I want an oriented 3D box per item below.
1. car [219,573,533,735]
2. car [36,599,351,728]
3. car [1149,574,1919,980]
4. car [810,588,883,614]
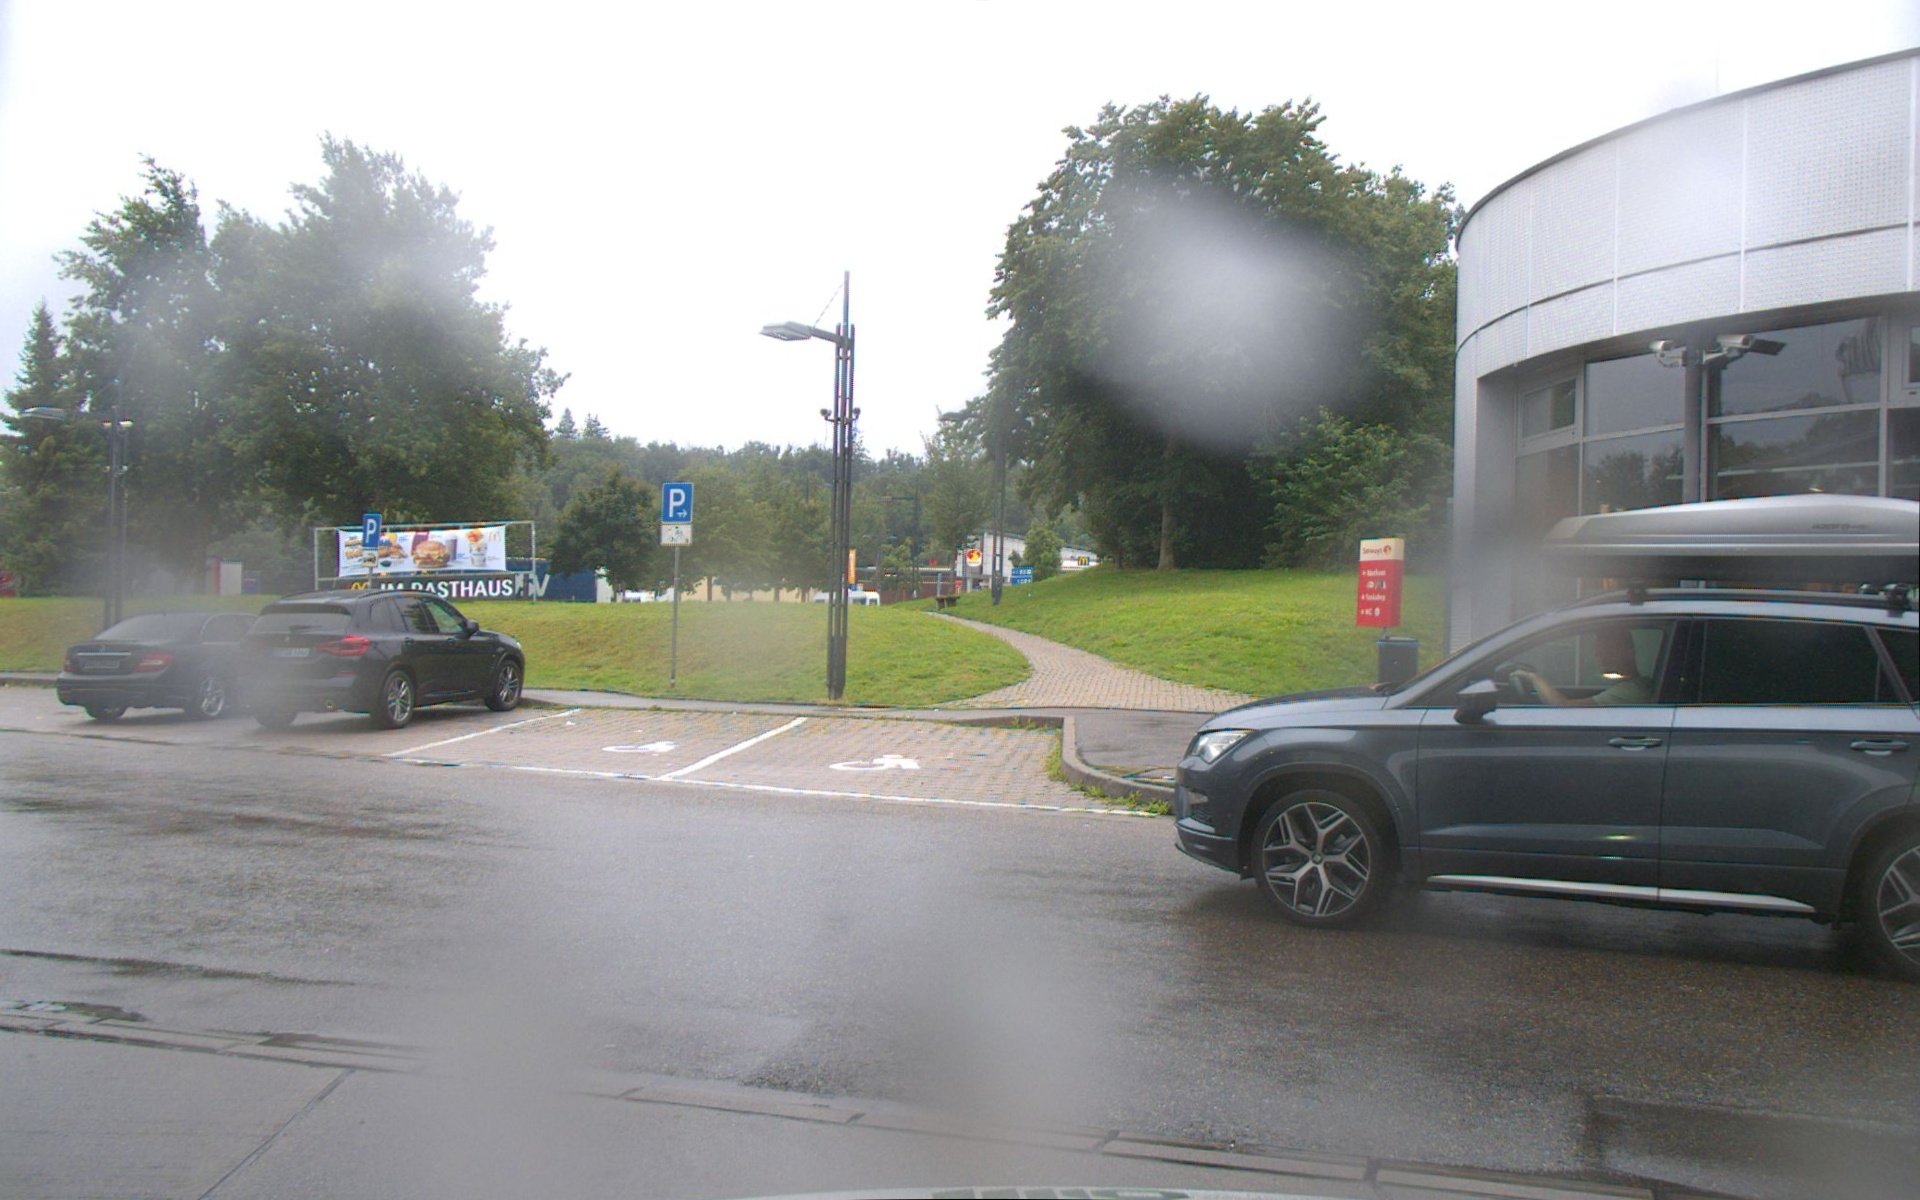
[{"bbox_3d":[-7.338,0.613,21.312,1.844,1.860,4.417,0,0,11],"label":"car"},{"bbox_3d":[-10.364,0.785,22.751,1.844,1.592,4.189,0,0,11],"label":"car"},{"bbox_3d":[3.217,0.711,7.998,4.224,1.615,1.890,1,0,22],"label":"car"},{"bbox_3d":[-9.180,0.071,133.621,5.310,2.049,2.456,1,0,19],"label":"car"}]
